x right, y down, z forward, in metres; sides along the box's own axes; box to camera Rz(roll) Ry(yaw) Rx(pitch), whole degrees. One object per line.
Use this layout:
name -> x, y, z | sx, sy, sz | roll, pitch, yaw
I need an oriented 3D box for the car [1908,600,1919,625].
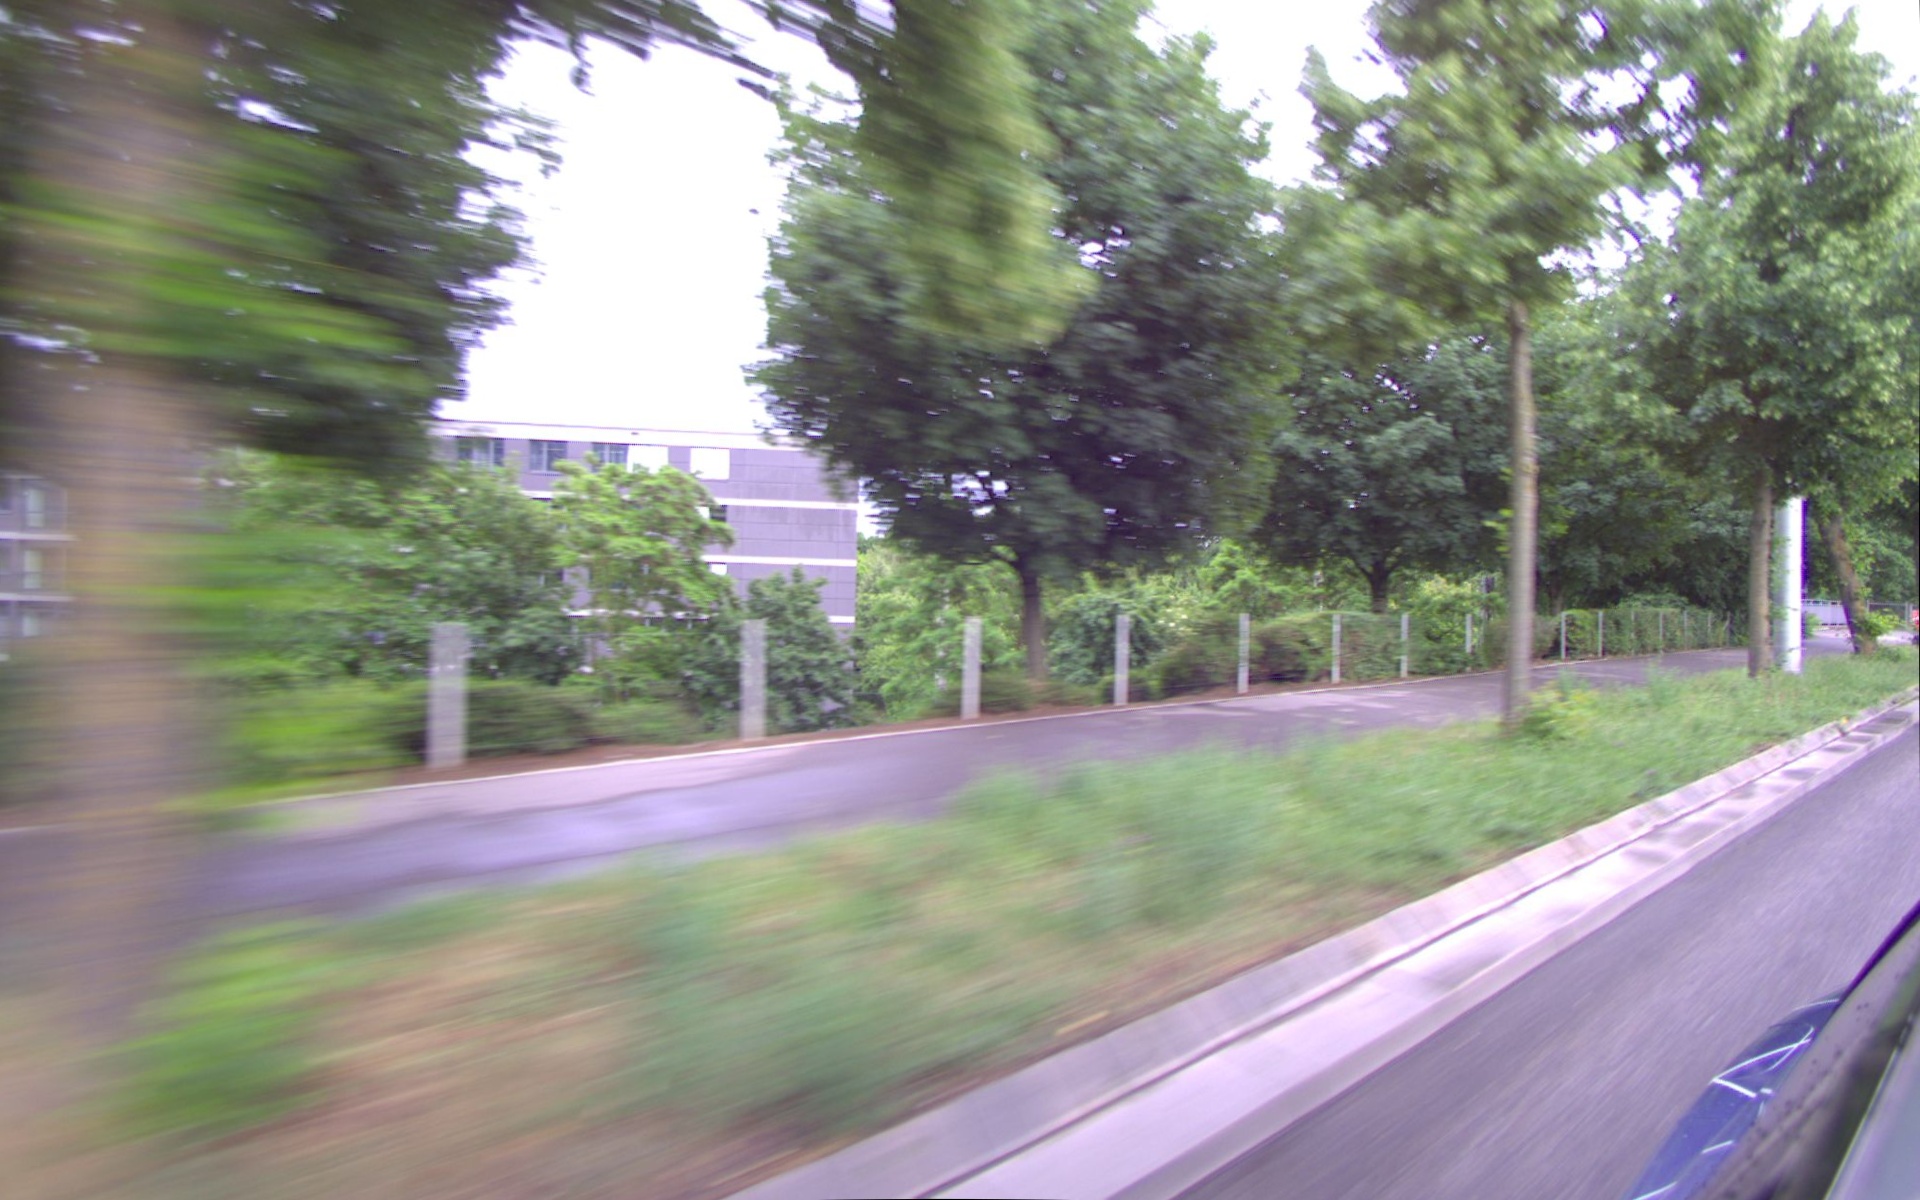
car -> 86.917, 1.098, 89.058 | 4.937, 2.220, 1.999 | 1, 0, 2
